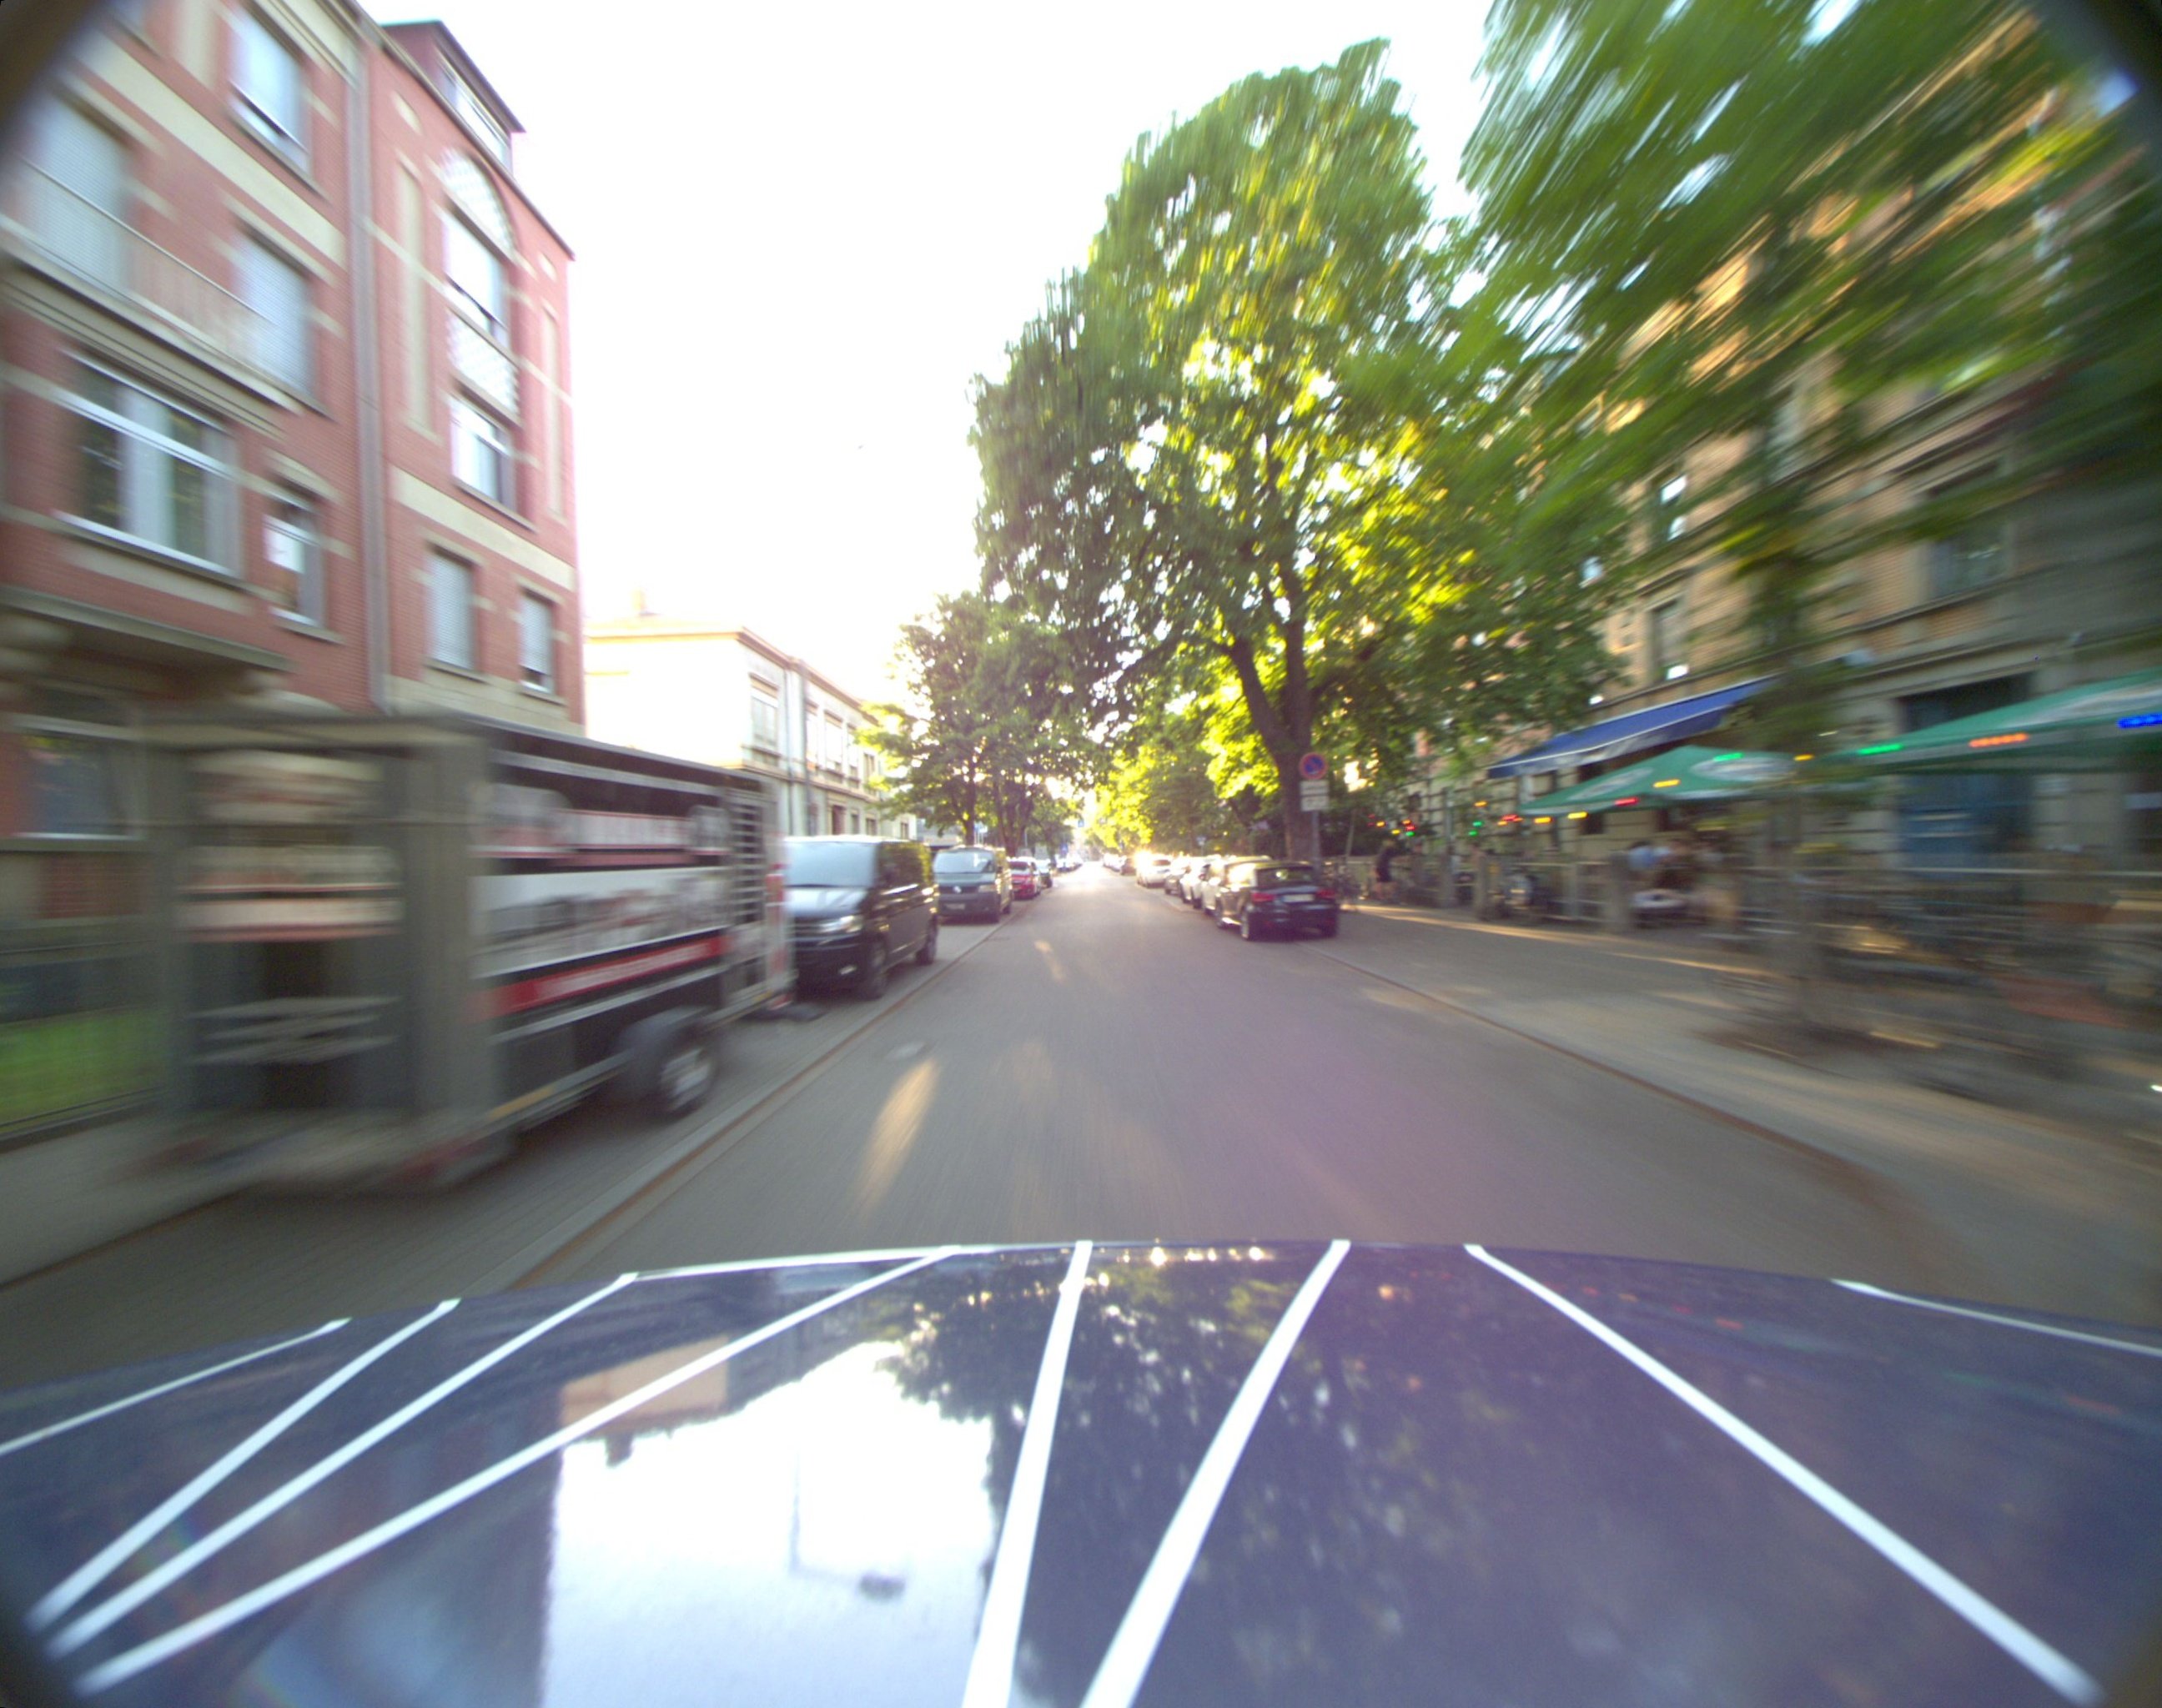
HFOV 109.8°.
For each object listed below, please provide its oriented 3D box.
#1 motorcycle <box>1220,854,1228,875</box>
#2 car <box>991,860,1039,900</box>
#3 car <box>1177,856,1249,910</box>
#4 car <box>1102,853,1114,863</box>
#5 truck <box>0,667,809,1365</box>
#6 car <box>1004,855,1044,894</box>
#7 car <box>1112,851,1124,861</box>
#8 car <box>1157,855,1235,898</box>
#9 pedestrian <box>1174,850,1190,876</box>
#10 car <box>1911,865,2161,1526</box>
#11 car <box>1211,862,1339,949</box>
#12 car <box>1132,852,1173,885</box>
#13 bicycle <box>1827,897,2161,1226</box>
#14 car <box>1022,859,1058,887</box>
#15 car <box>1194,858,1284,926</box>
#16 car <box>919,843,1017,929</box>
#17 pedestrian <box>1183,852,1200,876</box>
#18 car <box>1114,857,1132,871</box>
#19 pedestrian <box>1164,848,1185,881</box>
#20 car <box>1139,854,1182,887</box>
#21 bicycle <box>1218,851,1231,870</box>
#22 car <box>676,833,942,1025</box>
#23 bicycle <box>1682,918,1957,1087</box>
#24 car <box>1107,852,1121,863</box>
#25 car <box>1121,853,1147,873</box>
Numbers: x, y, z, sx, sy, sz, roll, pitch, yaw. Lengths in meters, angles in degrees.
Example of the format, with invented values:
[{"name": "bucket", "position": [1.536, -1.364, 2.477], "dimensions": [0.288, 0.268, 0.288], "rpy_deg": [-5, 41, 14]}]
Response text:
[{"name": "motorcycle", "position": [8.567, 0.603, 45.472], "dimensions": [0.392, 1.179, 1.958], "rpy_deg": [-3, 0, 11]}, {"name": "car", "position": [-2.578, 0.986, 30.410], "dimensions": [1.668, 1.491, 3.694], "rpy_deg": [1, -1, -1]}, {"name": "car", "position": [4.047, 0.837, 23.759], "dimensions": [1.607, 1.427, 3.886], "rpy_deg": [-4, 0, 2]}, {"name": "car", "position": [4.112, 0.576, 115.976], "dimensions": [1.617, 1.433, 4.104], "rpy_deg": [-3, 0, -1]}, {"name": "truck", "position": [-3.602, 0.536, 4.783], "dimensions": [1.959, 2.233, 4.645], "rpy_deg": [1, -1, 2]}, {"name": "car", "position": [-2.683, 0.926, 35.056], "dimensions": [1.669, 1.668, 4.117], "rpy_deg": [1, -1, -7]}, {"name": "car", "position": [5.924, 0.308, 121.843], "dimensions": [1.617, 1.433, 4.104], "rpy_deg": [-3, 0, -1]}, {"name": "car", "position": [4.303, 0.818, 29.148], "dimensions": [1.845, 1.403, 4.599], "rpy_deg": [-4, 0, -5]}, {"name": "pedestrian", "position": [7.169, 0.638, 53.871], "dimensions": [0.688, 1.824, 1.007], "rpy_deg": [-1, 1, -25]}, {"name": "car", "position": [3.461, 0.786, 0.126], "dimensions": [1.694, 1.554, 4.402], "rpy_deg": [-4, 0, -1]}, {"name": "car", "position": [3.699, 0.916, 15.105], "dimensions": [1.555, 1.477, 3.694], "rpy_deg": [-1, 0, -1]}, {"name": "car", "position": [3.985, 0.815, 42.795], "dimensions": [1.669, 1.667, 3.846], "rpy_deg": [-4, 0, -3]}, {"name": "bicycle", "position": [4.673, 0.895, 3.556], "dimensions": [0.483, 1.248, 1.900], "rpy_deg": [-5, 0, 3]}, {"name": "car", "position": [-2.367, 1.109, 44.607], "dimensions": [1.735, 1.547, 3.963], "rpy_deg": [1, -1, 2]}, {"name": "car", "position": [3.964, 0.892, 19.545], "dimensions": [1.555, 1.477, 3.694], "rpy_deg": [-4, 0, 2]}, {"name": "car", "position": [-2.943, 0.809, 20.831], "dimensions": [1.959, 2.046, 4.830], "rpy_deg": [1, -1, -1]}, {"name": "pedestrian", "position": [7.661, 0.681, 52.737], "dimensions": [0.688, 1.621, 1.051], "rpy_deg": [-1, 1, -25]}, {"name": "car", "position": [4.778, 1.090, 86.537], "dimensions": [1.617, 1.433, 3.754], "rpy_deg": [-4, 0, -2]}, {"name": "pedestrian", "position": [5.796, 0.624, 47.142], "dimensions": [0.869, 2.002, 1.008], "rpy_deg": [-1, 1, -19]}, {"name": "car", "position": [3.991, 0.826, 38.519], "dimensions": [1.668, 1.484, 3.710], "rpy_deg": [-4, 0, 0]}, {"name": "bicycle", "position": [9.132, 0.405, 48.356], "dimensions": [0.392, 1.137, 1.747], "rpy_deg": [-10, -1, 4]}, {"name": "car", "position": [-3.188, 0.794, 10.038], "dimensions": [1.843, 1.931, 4.614], "rpy_deg": [1, -1, 0]}, {"name": "bicycle", "position": [5.423, 1.029, 5.745], "dimensions": [0.416, 0.923, 1.735], "rpy_deg": [-4, 0, 3]}, {"name": "car", "position": [4.395, 0.487, 101.842], "dimensions": [1.617, 1.433, 4.310], "rpy_deg": [-3, 0, -1]}, {"name": "car", "position": [4.718, 0.809, 68.253], "dimensions": [1.871, 1.677, 4.592], "rpy_deg": [-3, 0, 0]}]
